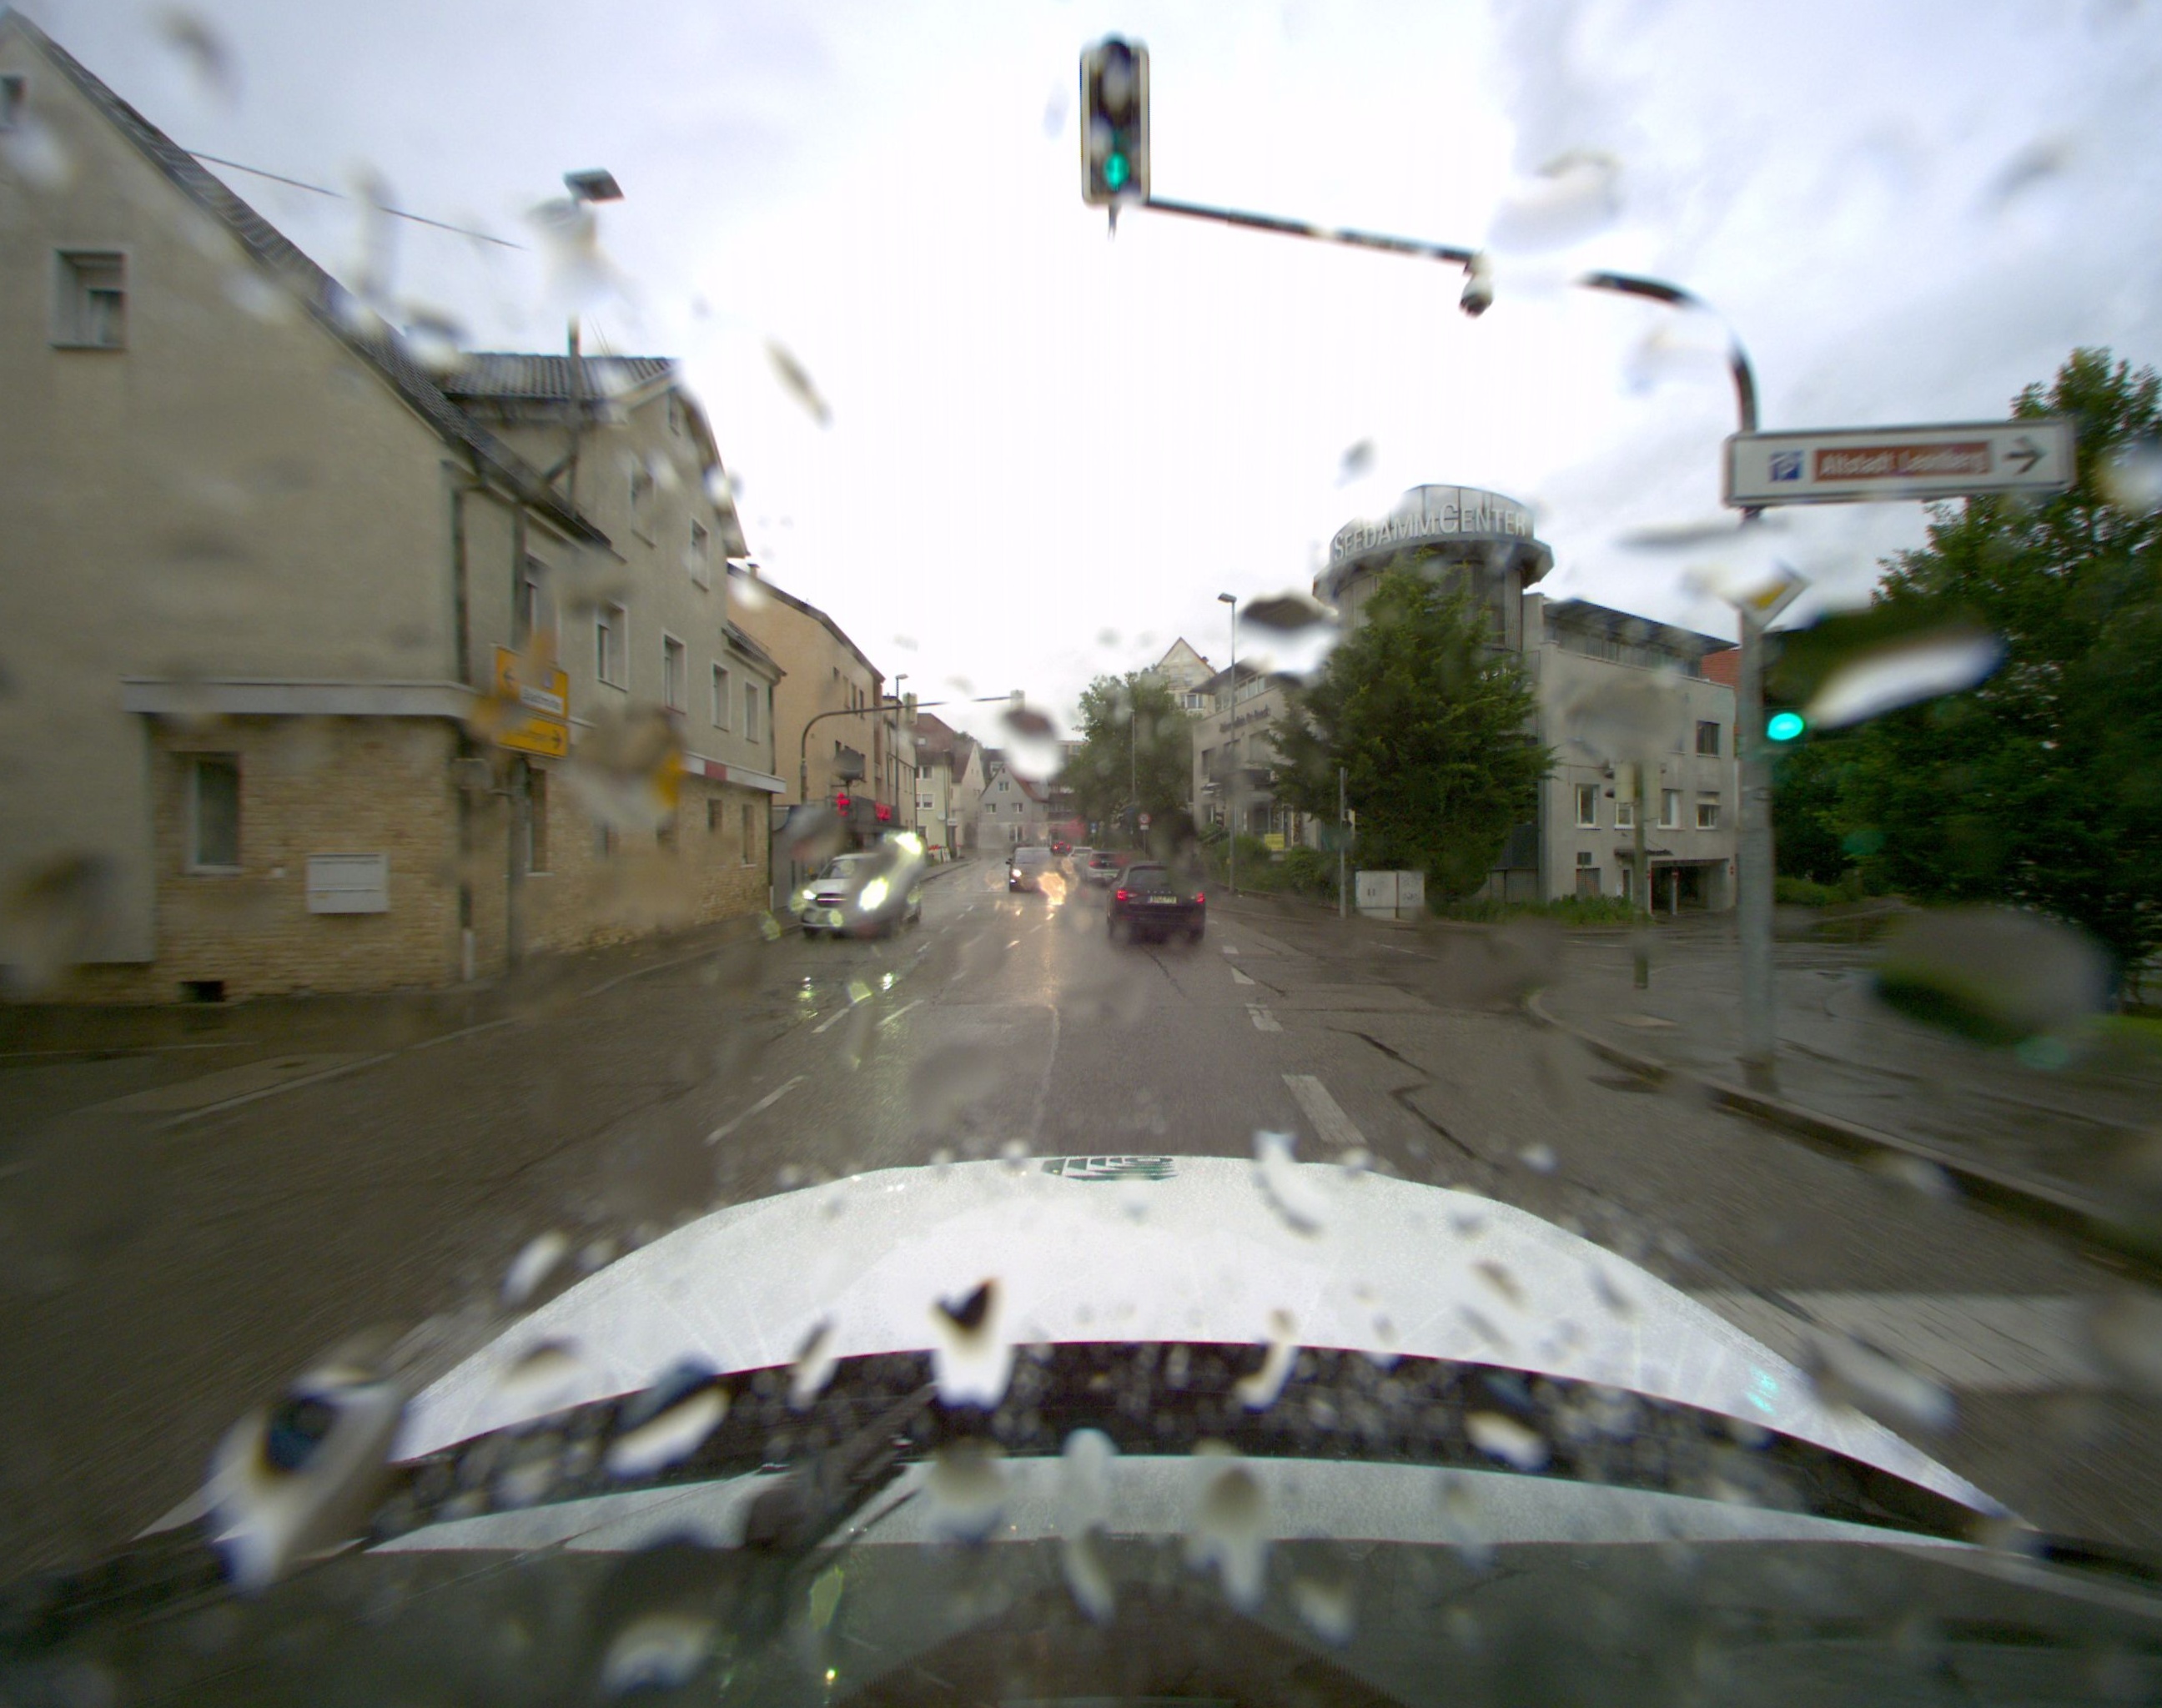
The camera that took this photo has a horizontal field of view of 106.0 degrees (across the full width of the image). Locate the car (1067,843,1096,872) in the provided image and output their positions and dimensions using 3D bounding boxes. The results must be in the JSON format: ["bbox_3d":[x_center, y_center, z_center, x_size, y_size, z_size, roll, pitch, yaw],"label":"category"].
[{"bbox_3d":[-0.011,0.255,50.851,1.723,1.591,4.181,1,-2,-1],"label":"car"}]

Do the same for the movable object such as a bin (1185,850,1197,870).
[{"bbox_3d":[5.628,0.310,41.601,0.508,0.945,0.605,3,5,15],"label":"movable object such as a bin"}]

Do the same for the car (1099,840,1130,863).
[{"bbox_3d":[2.520,-0.218,62.983,1.850,1.641,3.863,-1,1,-6],"label":"car"}]

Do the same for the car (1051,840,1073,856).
[{"bbox_3d":[-2.004,-0.595,84.528,1.891,1.590,3.680,-1,0,-6],"label":"car"}]

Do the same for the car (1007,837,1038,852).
[{"bbox_3d":[-7.010,-1.169,97.318,1.908,1.682,3.645,-1,0,-39],"label":"car"}]

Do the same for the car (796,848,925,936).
[{"bbox_3d":[-4.513,0.691,17.322,1.781,1.560,4.331,-1,1,-4],"label":"car"}]

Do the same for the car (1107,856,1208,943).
[{"bbox_3d":[1.622,0.811,16.632,1.772,1.483,4.254,1,0,7],"label":"car"}]

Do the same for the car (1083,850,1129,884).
[{"bbox_3d":[1.029,0.522,34.934,1.812,1.359,3.988,0,0,-1],"label":"car"}]

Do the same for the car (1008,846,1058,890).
[{"bbox_3d":[-1.889,0.473,31.635,1.781,1.562,4.396,1,1,-4],"label":"car"}]

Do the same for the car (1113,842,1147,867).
[{"bbox_3d":[3.406,0.034,57.026,1.850,1.641,3.531,-1,1,-6],"label":"car"}]
